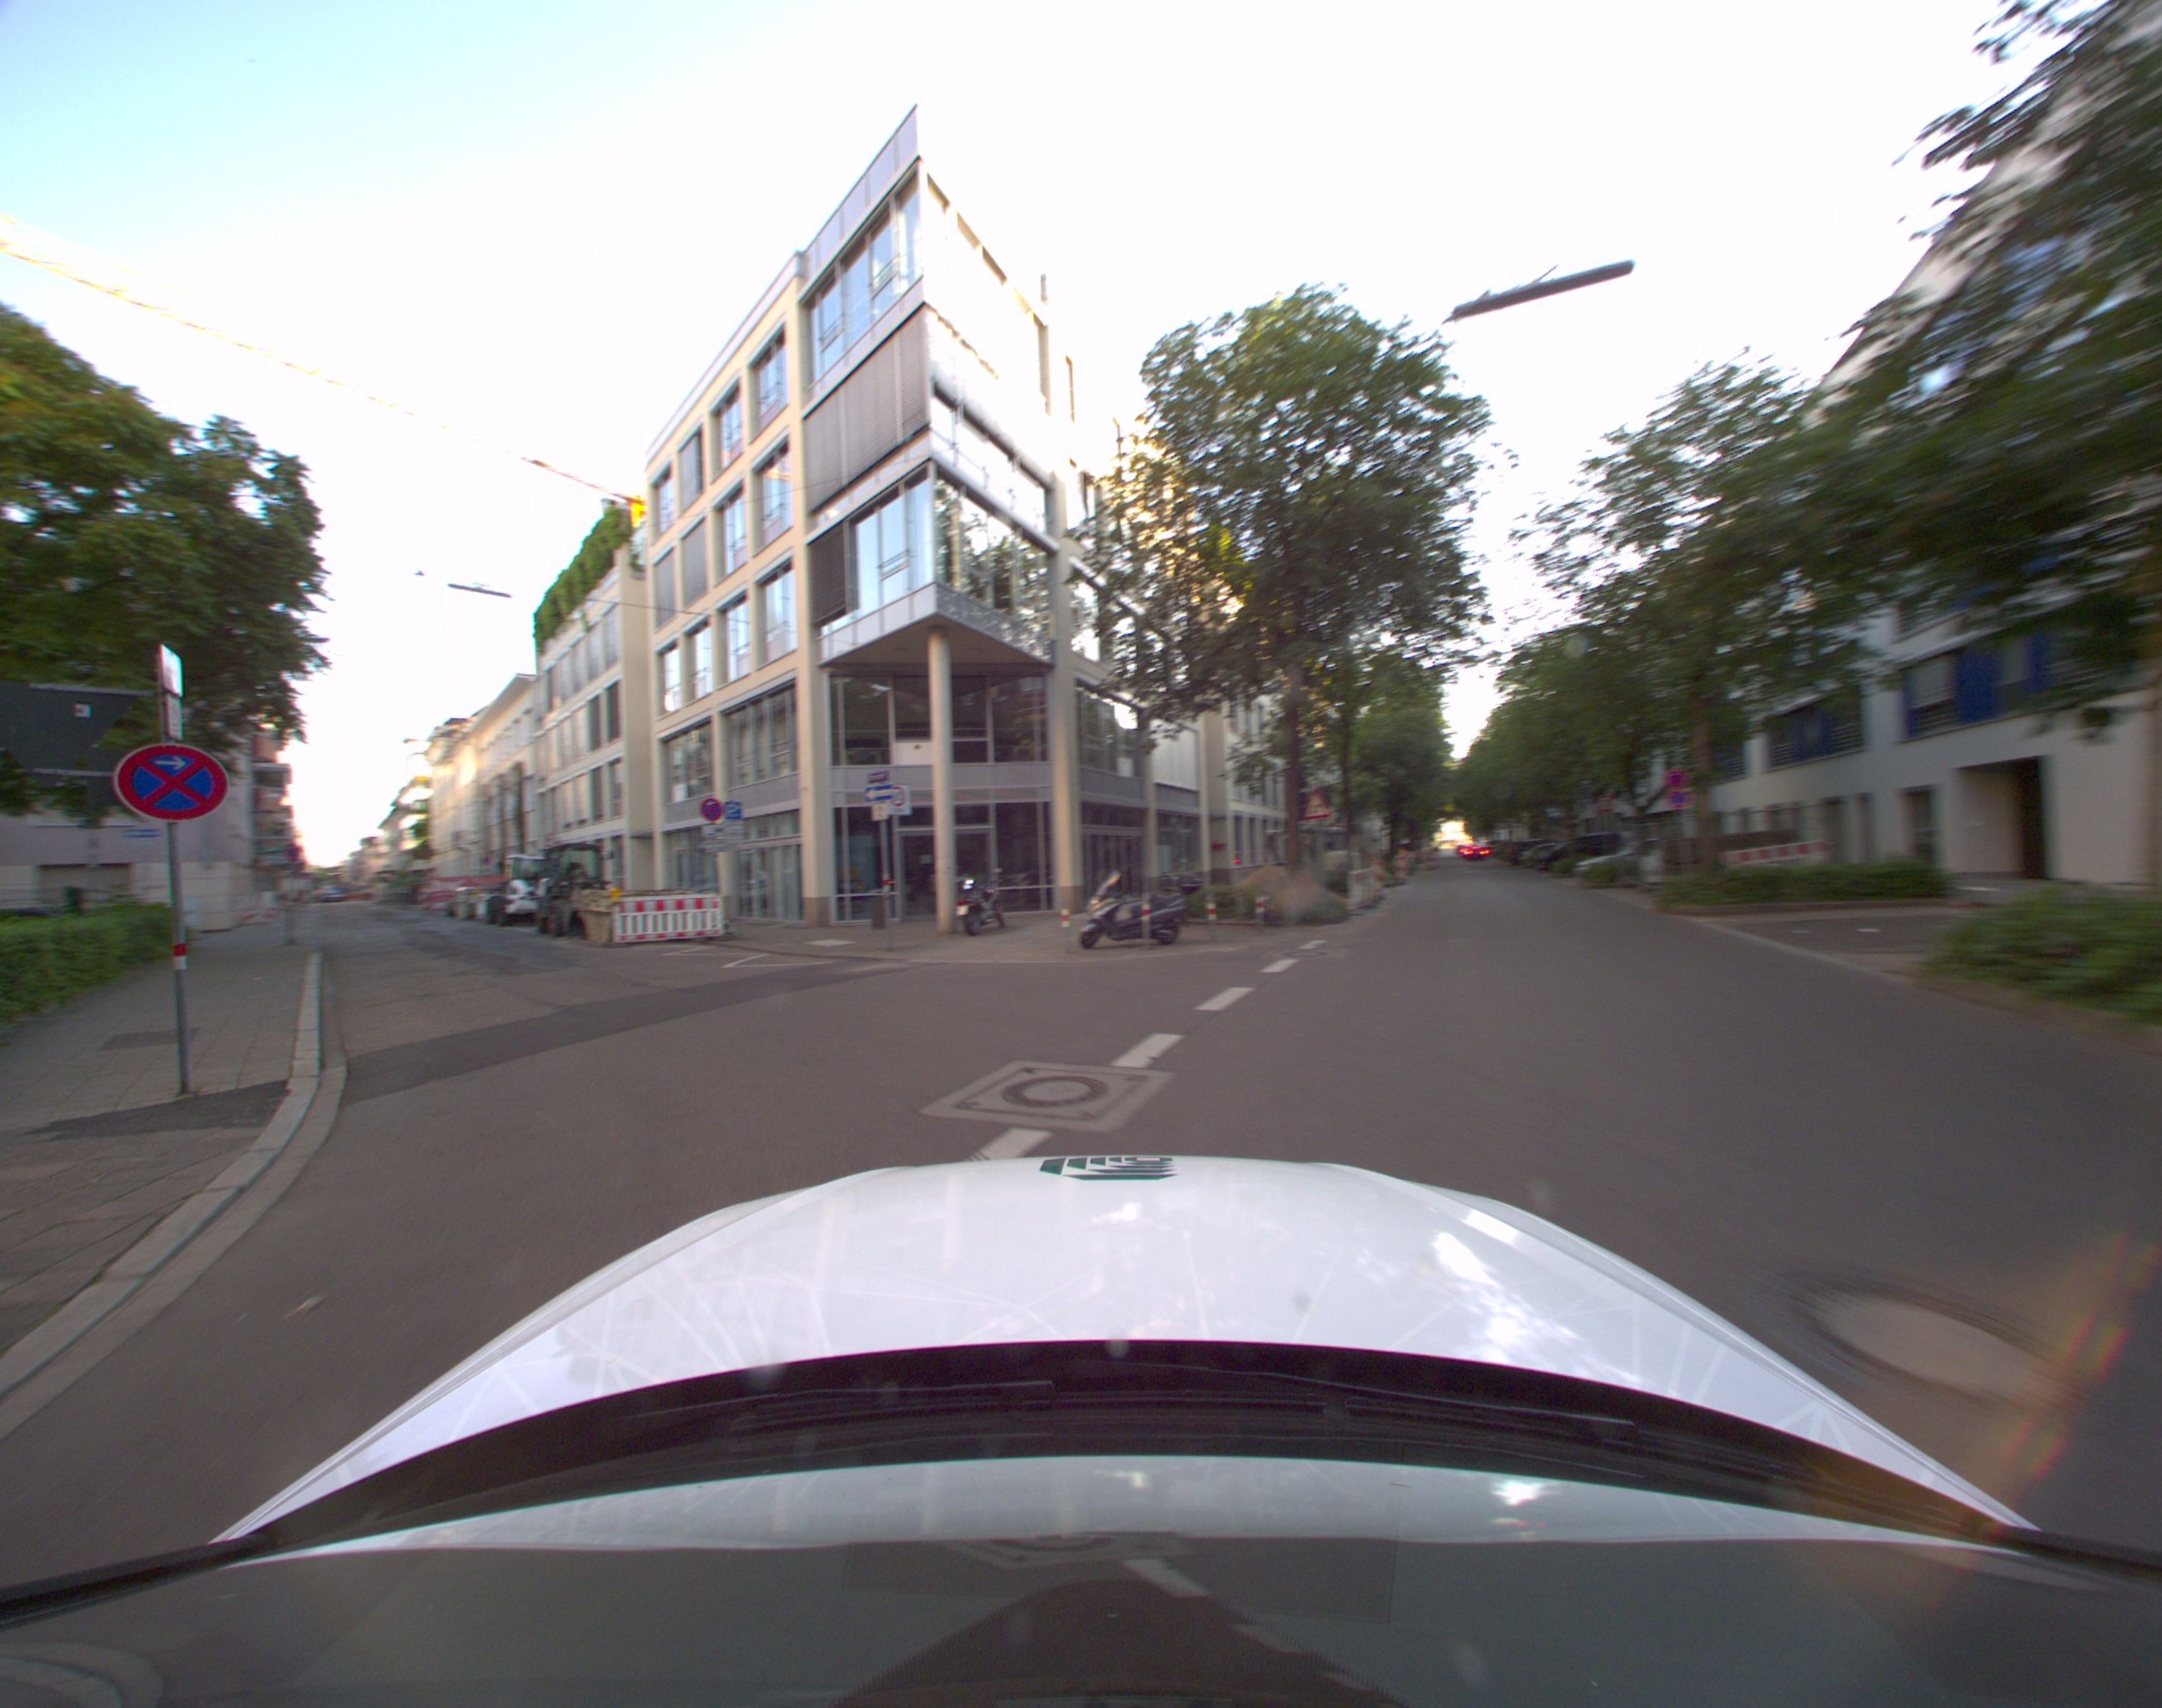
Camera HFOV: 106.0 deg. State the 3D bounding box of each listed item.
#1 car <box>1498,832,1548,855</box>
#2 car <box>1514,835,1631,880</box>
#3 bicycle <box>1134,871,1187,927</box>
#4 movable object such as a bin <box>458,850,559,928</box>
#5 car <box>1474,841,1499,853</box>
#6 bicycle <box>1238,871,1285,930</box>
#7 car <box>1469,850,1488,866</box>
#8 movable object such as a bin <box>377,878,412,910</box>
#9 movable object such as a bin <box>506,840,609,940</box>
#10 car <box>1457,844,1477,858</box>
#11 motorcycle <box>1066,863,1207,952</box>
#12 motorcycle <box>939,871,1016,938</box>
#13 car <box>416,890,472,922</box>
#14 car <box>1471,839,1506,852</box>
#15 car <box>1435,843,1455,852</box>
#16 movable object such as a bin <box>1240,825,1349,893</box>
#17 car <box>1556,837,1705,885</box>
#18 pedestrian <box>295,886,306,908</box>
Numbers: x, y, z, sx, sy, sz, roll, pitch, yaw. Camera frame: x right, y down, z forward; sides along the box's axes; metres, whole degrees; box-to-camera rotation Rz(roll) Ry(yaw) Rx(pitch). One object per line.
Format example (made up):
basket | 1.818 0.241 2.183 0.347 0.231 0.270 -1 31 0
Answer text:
car | 41.881 -0.961 77.308 3.951 2.014 2.011 -3 -1 23
car | 25.220 0.185 42.015 4.927 2.087 1.748 -3 -1 24
bicycle | 1.819 0.990 18.294 0.595 1.118 1.810 -3 0 24
movable object such as a bin | -21.109 1.269 29.920 2.186 2.596 5.474 -1 -1 -44
car | 73.611 -1.293 147.846 3.950 2.014 2.012 -3 -1 25
bicycle | 3.858 0.961 17.306 0.595 1.118 1.810 -3 0 24
car | 37.582 0.329 77.062 1.487 1.416 3.734 -3 -1 24
movable object such as a bin | -70.319 4.026 83.404 2.492 3.131 4.244 -1 -1 -44
movable object such as a bin | -15.244 1.011 23.618 1.812 2.634 4.061 -2 -1 -42
car | 43.431 -0.358 91.678 1.798 1.432 3.956 -2 0 22
motorcycle | 1.004 0.924 14.713 2.377 1.440 0.797 -2 0 -17
motorcycle | -2.218 1.056 17.735 0.608 1.274 2.138 -2 1 23
car | -31.139 2.486 39.750 1.709 1.406 4.424 -1 -2 -44
car | 54.082 -1.107 108.079 3.953 1.597 2.010 -2 0 20
car | 84.506 -1.478 189.065 3.957 1.914 1.785 -2 -1 16
movable object such as a bin | 8.227 0.200 31.207 3.633 2.333 2.597 -3 -1 22
car | 20.451 0.261 30.552 4.395 1.591 1.638 -3 -1 26
pedestrian | -69.587 3.804 72.592 0.660 1.886 0.567 -2 -1 -44
